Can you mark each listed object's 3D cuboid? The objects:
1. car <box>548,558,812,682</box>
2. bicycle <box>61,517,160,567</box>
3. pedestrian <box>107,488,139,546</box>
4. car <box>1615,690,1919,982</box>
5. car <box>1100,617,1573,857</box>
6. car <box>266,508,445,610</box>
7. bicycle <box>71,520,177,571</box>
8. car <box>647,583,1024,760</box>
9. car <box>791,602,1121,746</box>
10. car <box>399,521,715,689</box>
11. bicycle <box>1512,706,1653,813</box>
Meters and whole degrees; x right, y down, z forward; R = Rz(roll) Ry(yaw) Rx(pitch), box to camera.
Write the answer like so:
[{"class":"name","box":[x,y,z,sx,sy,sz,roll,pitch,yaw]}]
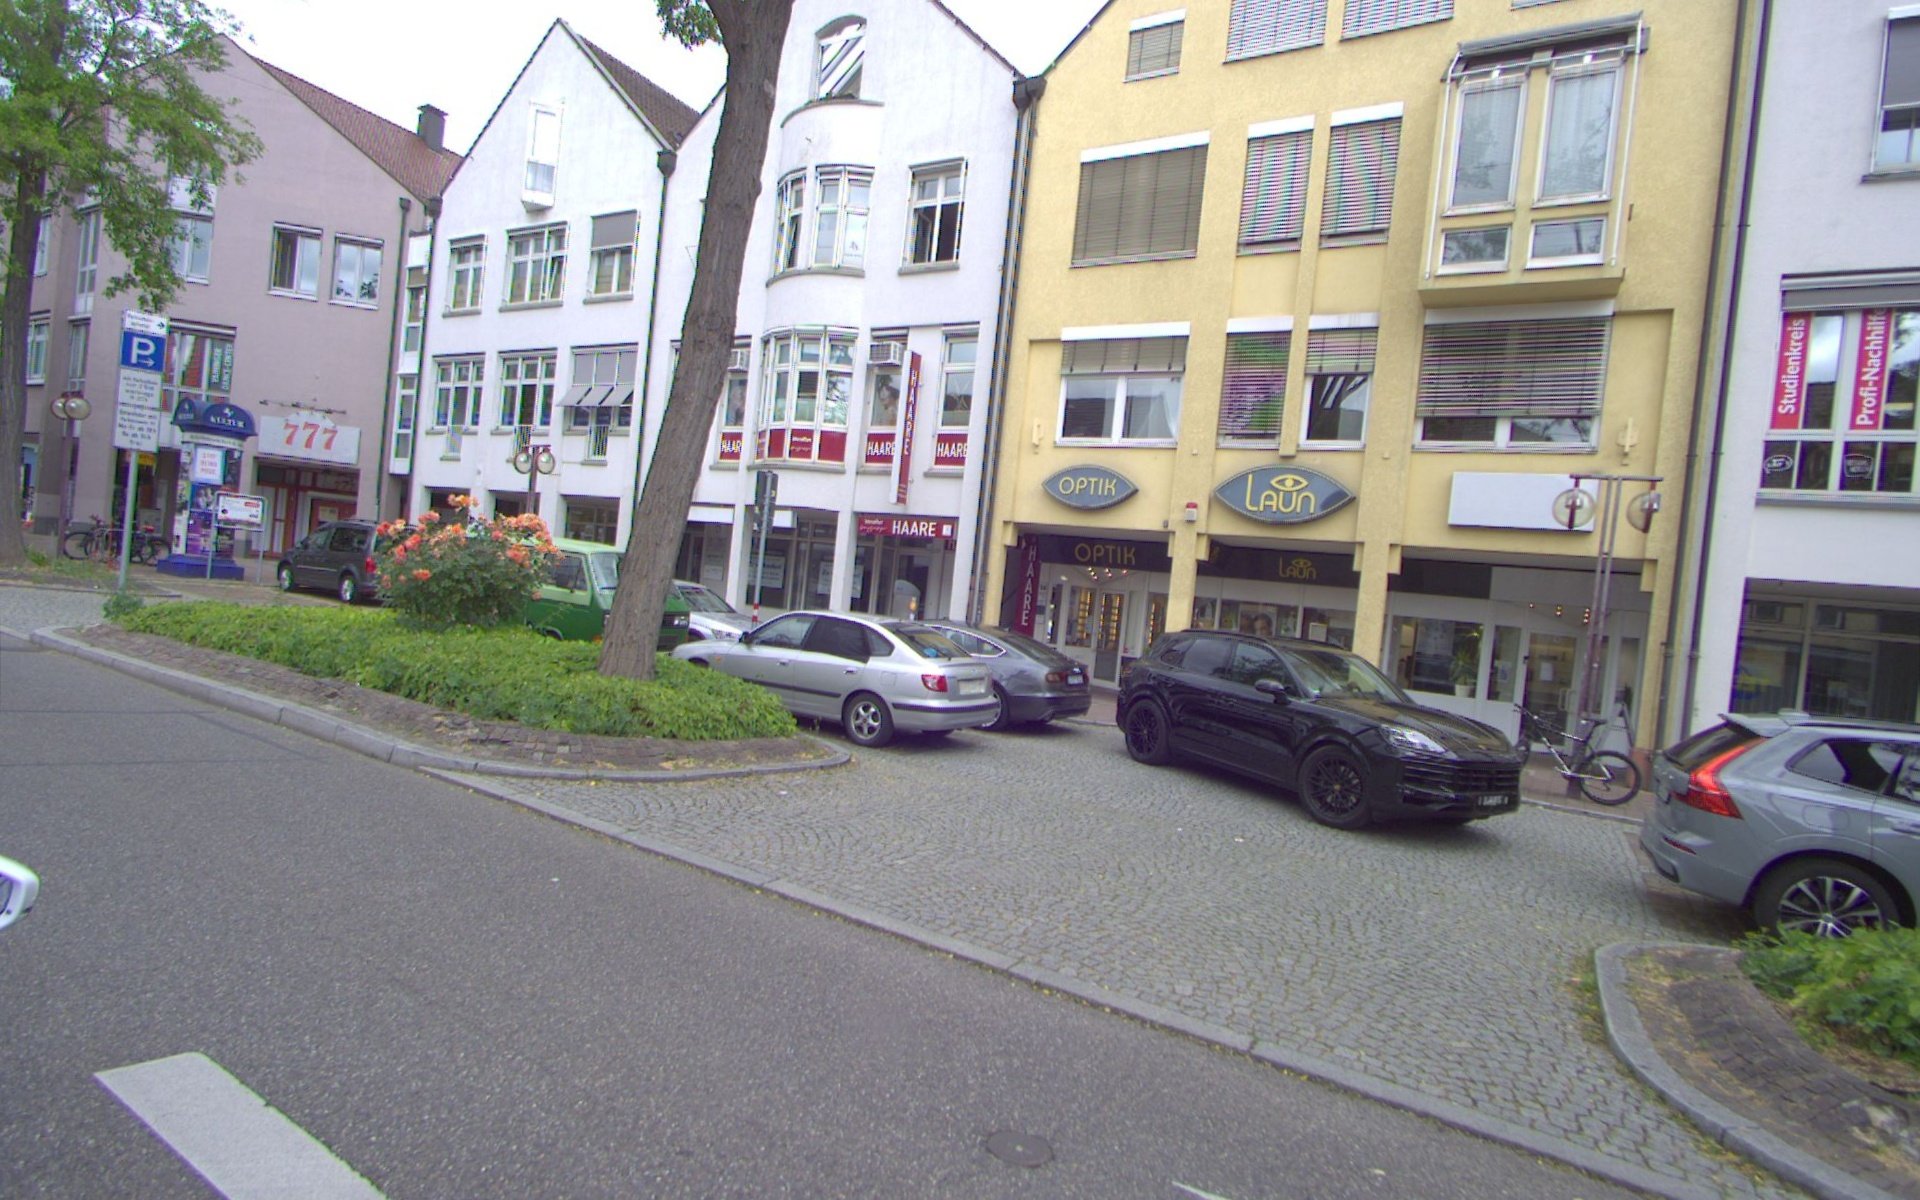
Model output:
[{"class":"car","box":[-4.884,0.300,17.373,4.320,1.562,1.797,7,2,30]},{"class":"bicycle","box":[-21.226,-1.431,25.174,0.440,1.009,1.769,7,0,36]},{"class":"pedestrian","box":[-28.324,-2.794,34.054,0.646,1.857,0.604,6,1,-36]},{"class":"car","box":[7.419,1.777,6.827,4.682,1.615,1.997,7,0,29]},{"class":"car","box":[3.753,1.285,11.026,1.838,1.692,4.626,5,1,-30]},{"class":"car","box":[-13.954,-0.950,23.199,3.898,1.855,1.639,7,1,28]},{"class":"bicycle","box":[-20.718,-1.346,24.969,0.460,1.009,1.901,7,0,36]},{"class":"car","box":[-1.601,0.788,12.440,4.344,1.468,1.765,7,0,30]},{"class":"car","box":[-0.103,0.996,14.802,4.344,1.394,1.999,7,1,30]},{"class":"car","box":[-6.060,0.021,14.984,4.527,1.900,1.882,7,2,30]},{"class":"bicycle","box":[7.671,1.945,12.450,1.356,1.058,0.392,7,2,32]}]
